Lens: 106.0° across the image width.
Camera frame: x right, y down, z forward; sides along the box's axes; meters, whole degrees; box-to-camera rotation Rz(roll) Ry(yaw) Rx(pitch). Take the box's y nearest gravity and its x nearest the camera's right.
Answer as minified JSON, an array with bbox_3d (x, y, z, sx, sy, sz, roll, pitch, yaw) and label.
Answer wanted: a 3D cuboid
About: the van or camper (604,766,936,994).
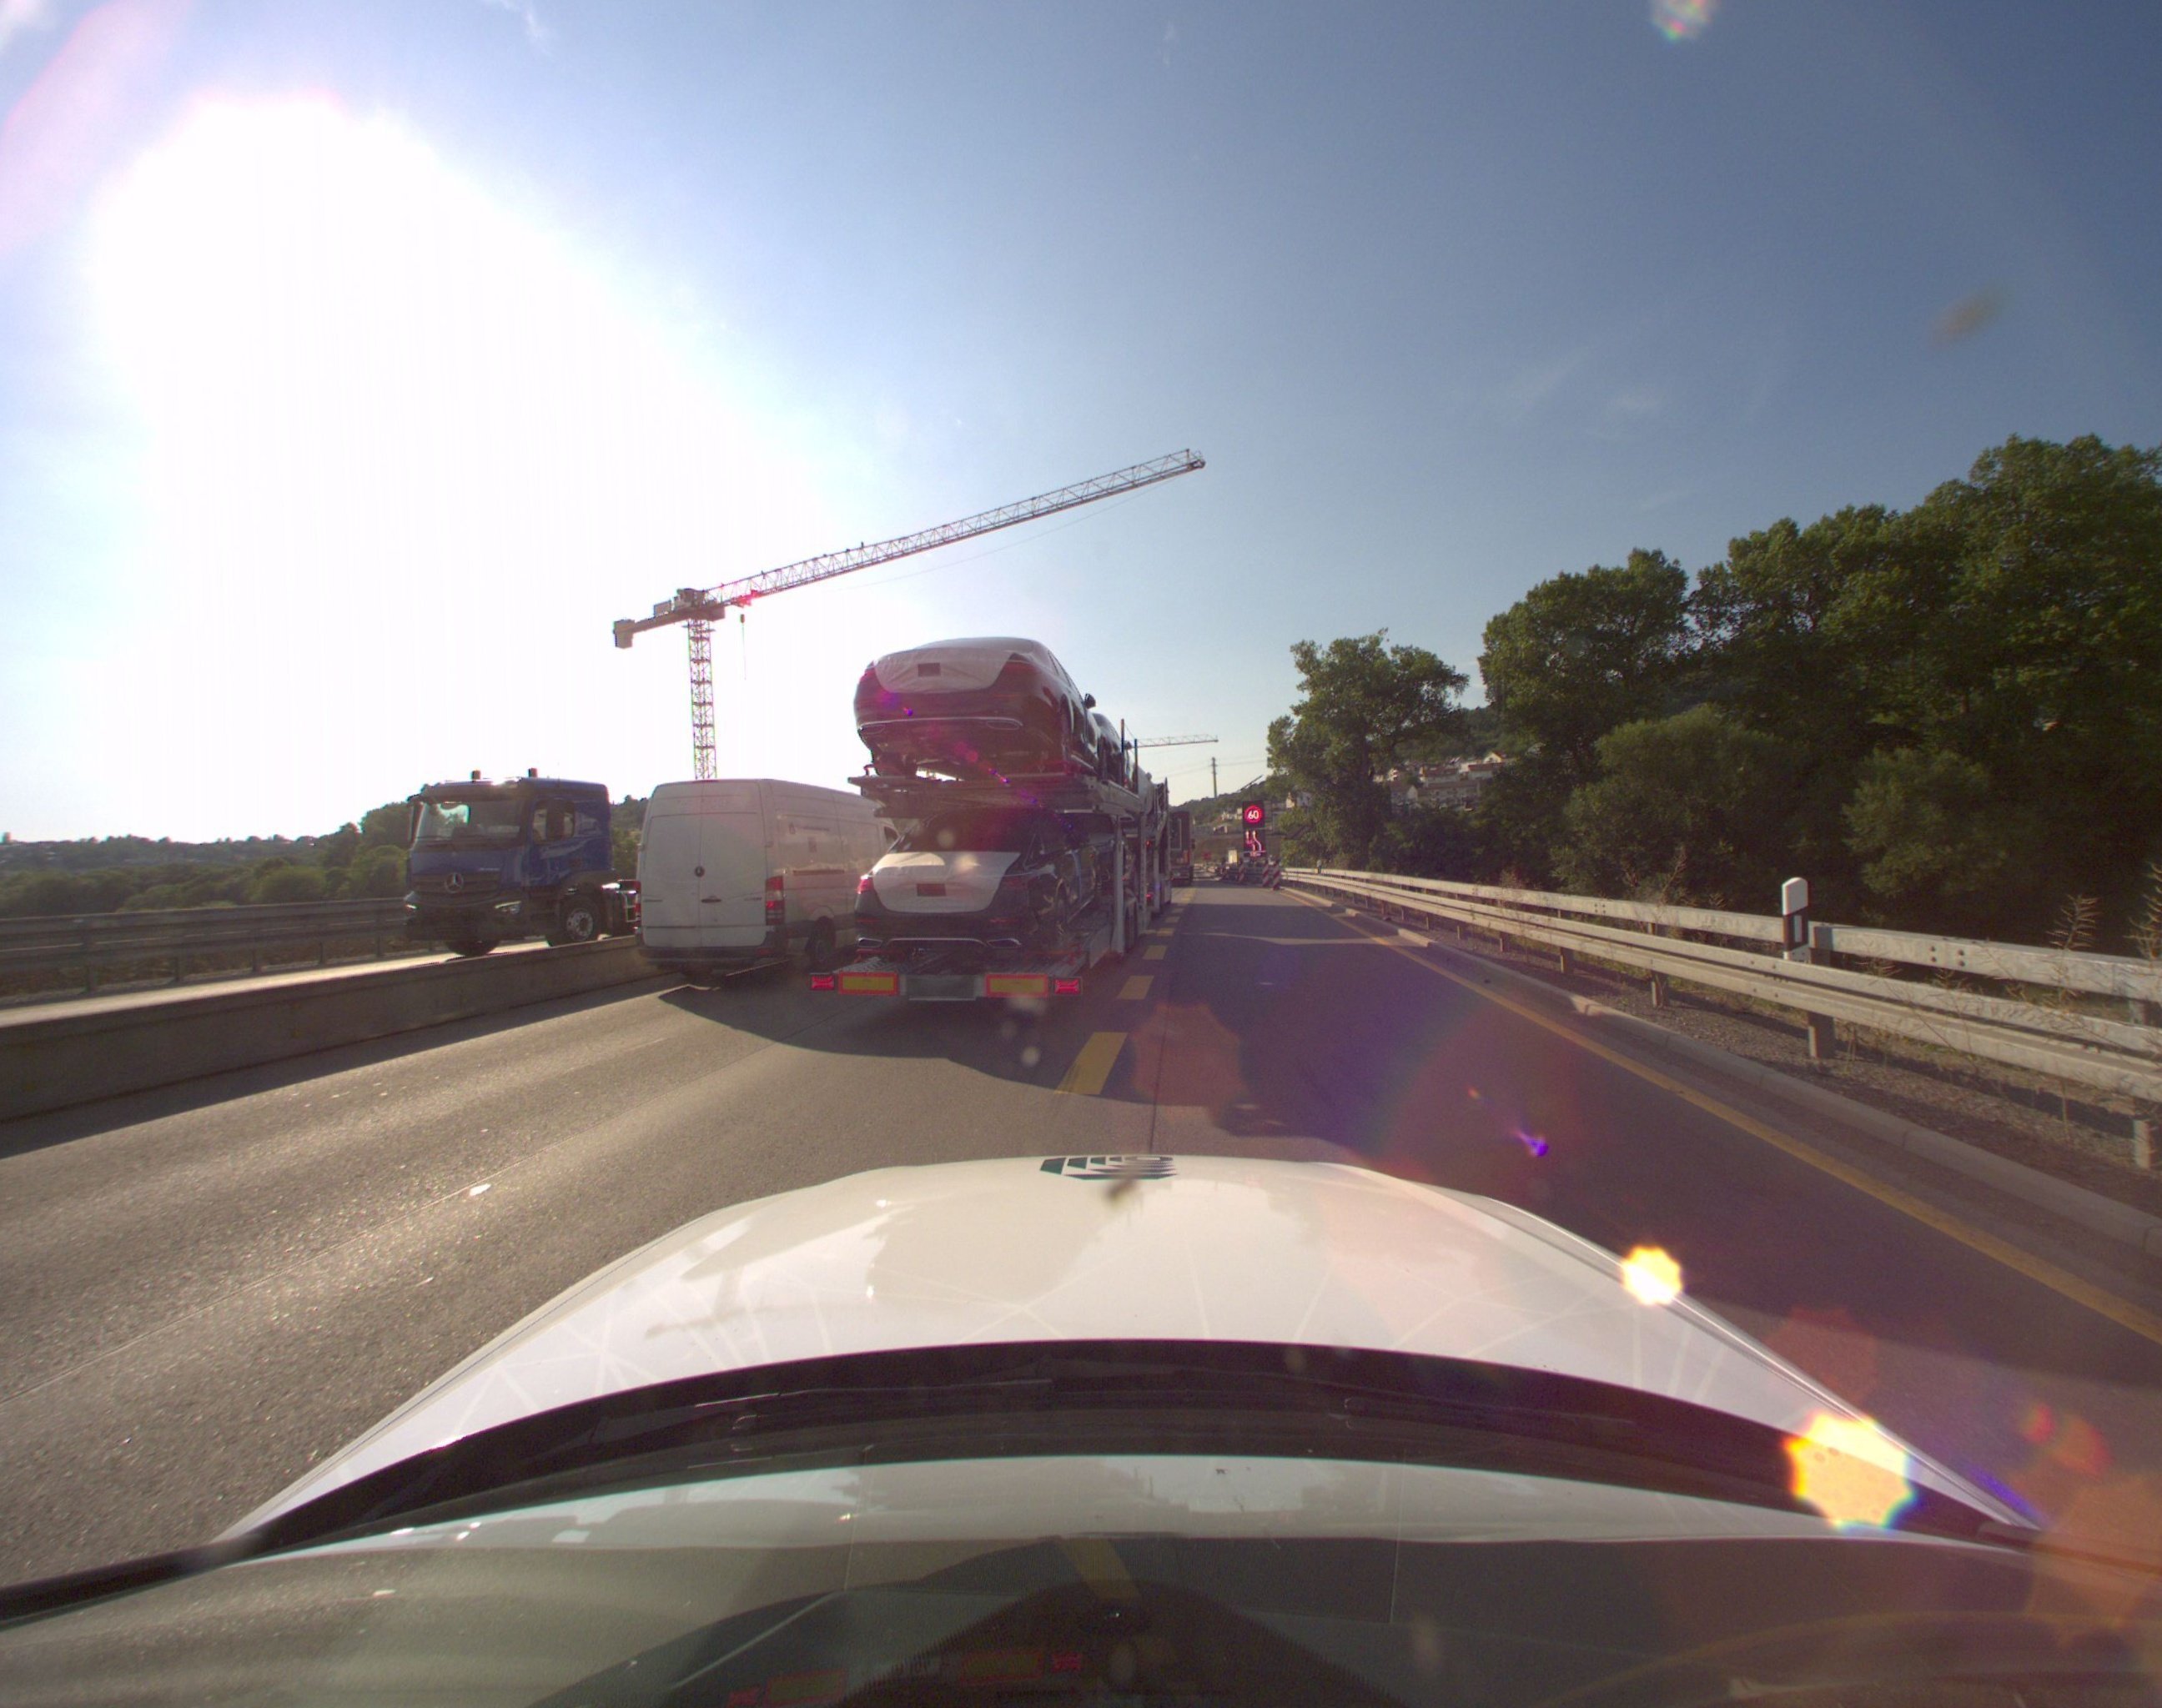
[{"bbox_3d":[-4.195,0.327,12.465,1.982,2.620,5.918,-2,0,9],"label":"van or camper"}]

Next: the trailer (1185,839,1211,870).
[{"bbox_3d":[17.160,0.082,119.193,3.365,3.996,14.779,-2,0,8],"label":"trailer"}]

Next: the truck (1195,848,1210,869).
[{"bbox_3d":[26.055,0.928,174.494,3.080,4.285,6.640,-2,-1,8],"label":"truck"}]

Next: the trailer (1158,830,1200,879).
[{"bbox_3d":[9.388,0.049,76.530,3.365,3.996,14.779,-2,0,8],"label":"trailer"}]

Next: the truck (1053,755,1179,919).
[{"bbox_3d":[1.254,-0.409,23.763,2.832,3.996,6.640,-2,-1,8],"label":"truck"}]

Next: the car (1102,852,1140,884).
[{"bbox_3d":[2.327,0.759,46.930,1.821,1.654,4.007,-4,-1,6],"label":"car"}]

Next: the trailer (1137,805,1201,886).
[{"bbox_3d":[5.428,-0.420,48.299,2.941,4.092,10.821,-3,-1,9],"label":"trailer"}]

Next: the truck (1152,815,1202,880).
[{"bbox_3d":[6.543,-0.395,54.725,2.867,3.996,6.642,-2,-1,9],"label":"truck"}]

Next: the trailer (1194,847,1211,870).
[{"bbox_3d":[24.930,0.860,166.927,3.086,4.314,14.285,-2,0,8],"label":"trailer"}]

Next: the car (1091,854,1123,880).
[{"bbox_3d":[1.875,0.901,56.870,1.821,1.654,4.007,-4,-1,6],"label":"car"}]

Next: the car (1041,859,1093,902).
[{"bbox_3d":[-0.600,1.175,37.816,1.821,1.752,4.007,-4,-1,6],"label":"car"}]

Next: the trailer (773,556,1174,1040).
[{"bbox_3d":[-0.082,-0.419,14.774,2.841,3.996,15.782,-2,0,8],"label":"trailer"}]

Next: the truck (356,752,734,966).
[{"bbox_3d":[-10.094,0.109,16.283,2.879,3.396,5.968,-2,0,10],"label":"truck"}]
